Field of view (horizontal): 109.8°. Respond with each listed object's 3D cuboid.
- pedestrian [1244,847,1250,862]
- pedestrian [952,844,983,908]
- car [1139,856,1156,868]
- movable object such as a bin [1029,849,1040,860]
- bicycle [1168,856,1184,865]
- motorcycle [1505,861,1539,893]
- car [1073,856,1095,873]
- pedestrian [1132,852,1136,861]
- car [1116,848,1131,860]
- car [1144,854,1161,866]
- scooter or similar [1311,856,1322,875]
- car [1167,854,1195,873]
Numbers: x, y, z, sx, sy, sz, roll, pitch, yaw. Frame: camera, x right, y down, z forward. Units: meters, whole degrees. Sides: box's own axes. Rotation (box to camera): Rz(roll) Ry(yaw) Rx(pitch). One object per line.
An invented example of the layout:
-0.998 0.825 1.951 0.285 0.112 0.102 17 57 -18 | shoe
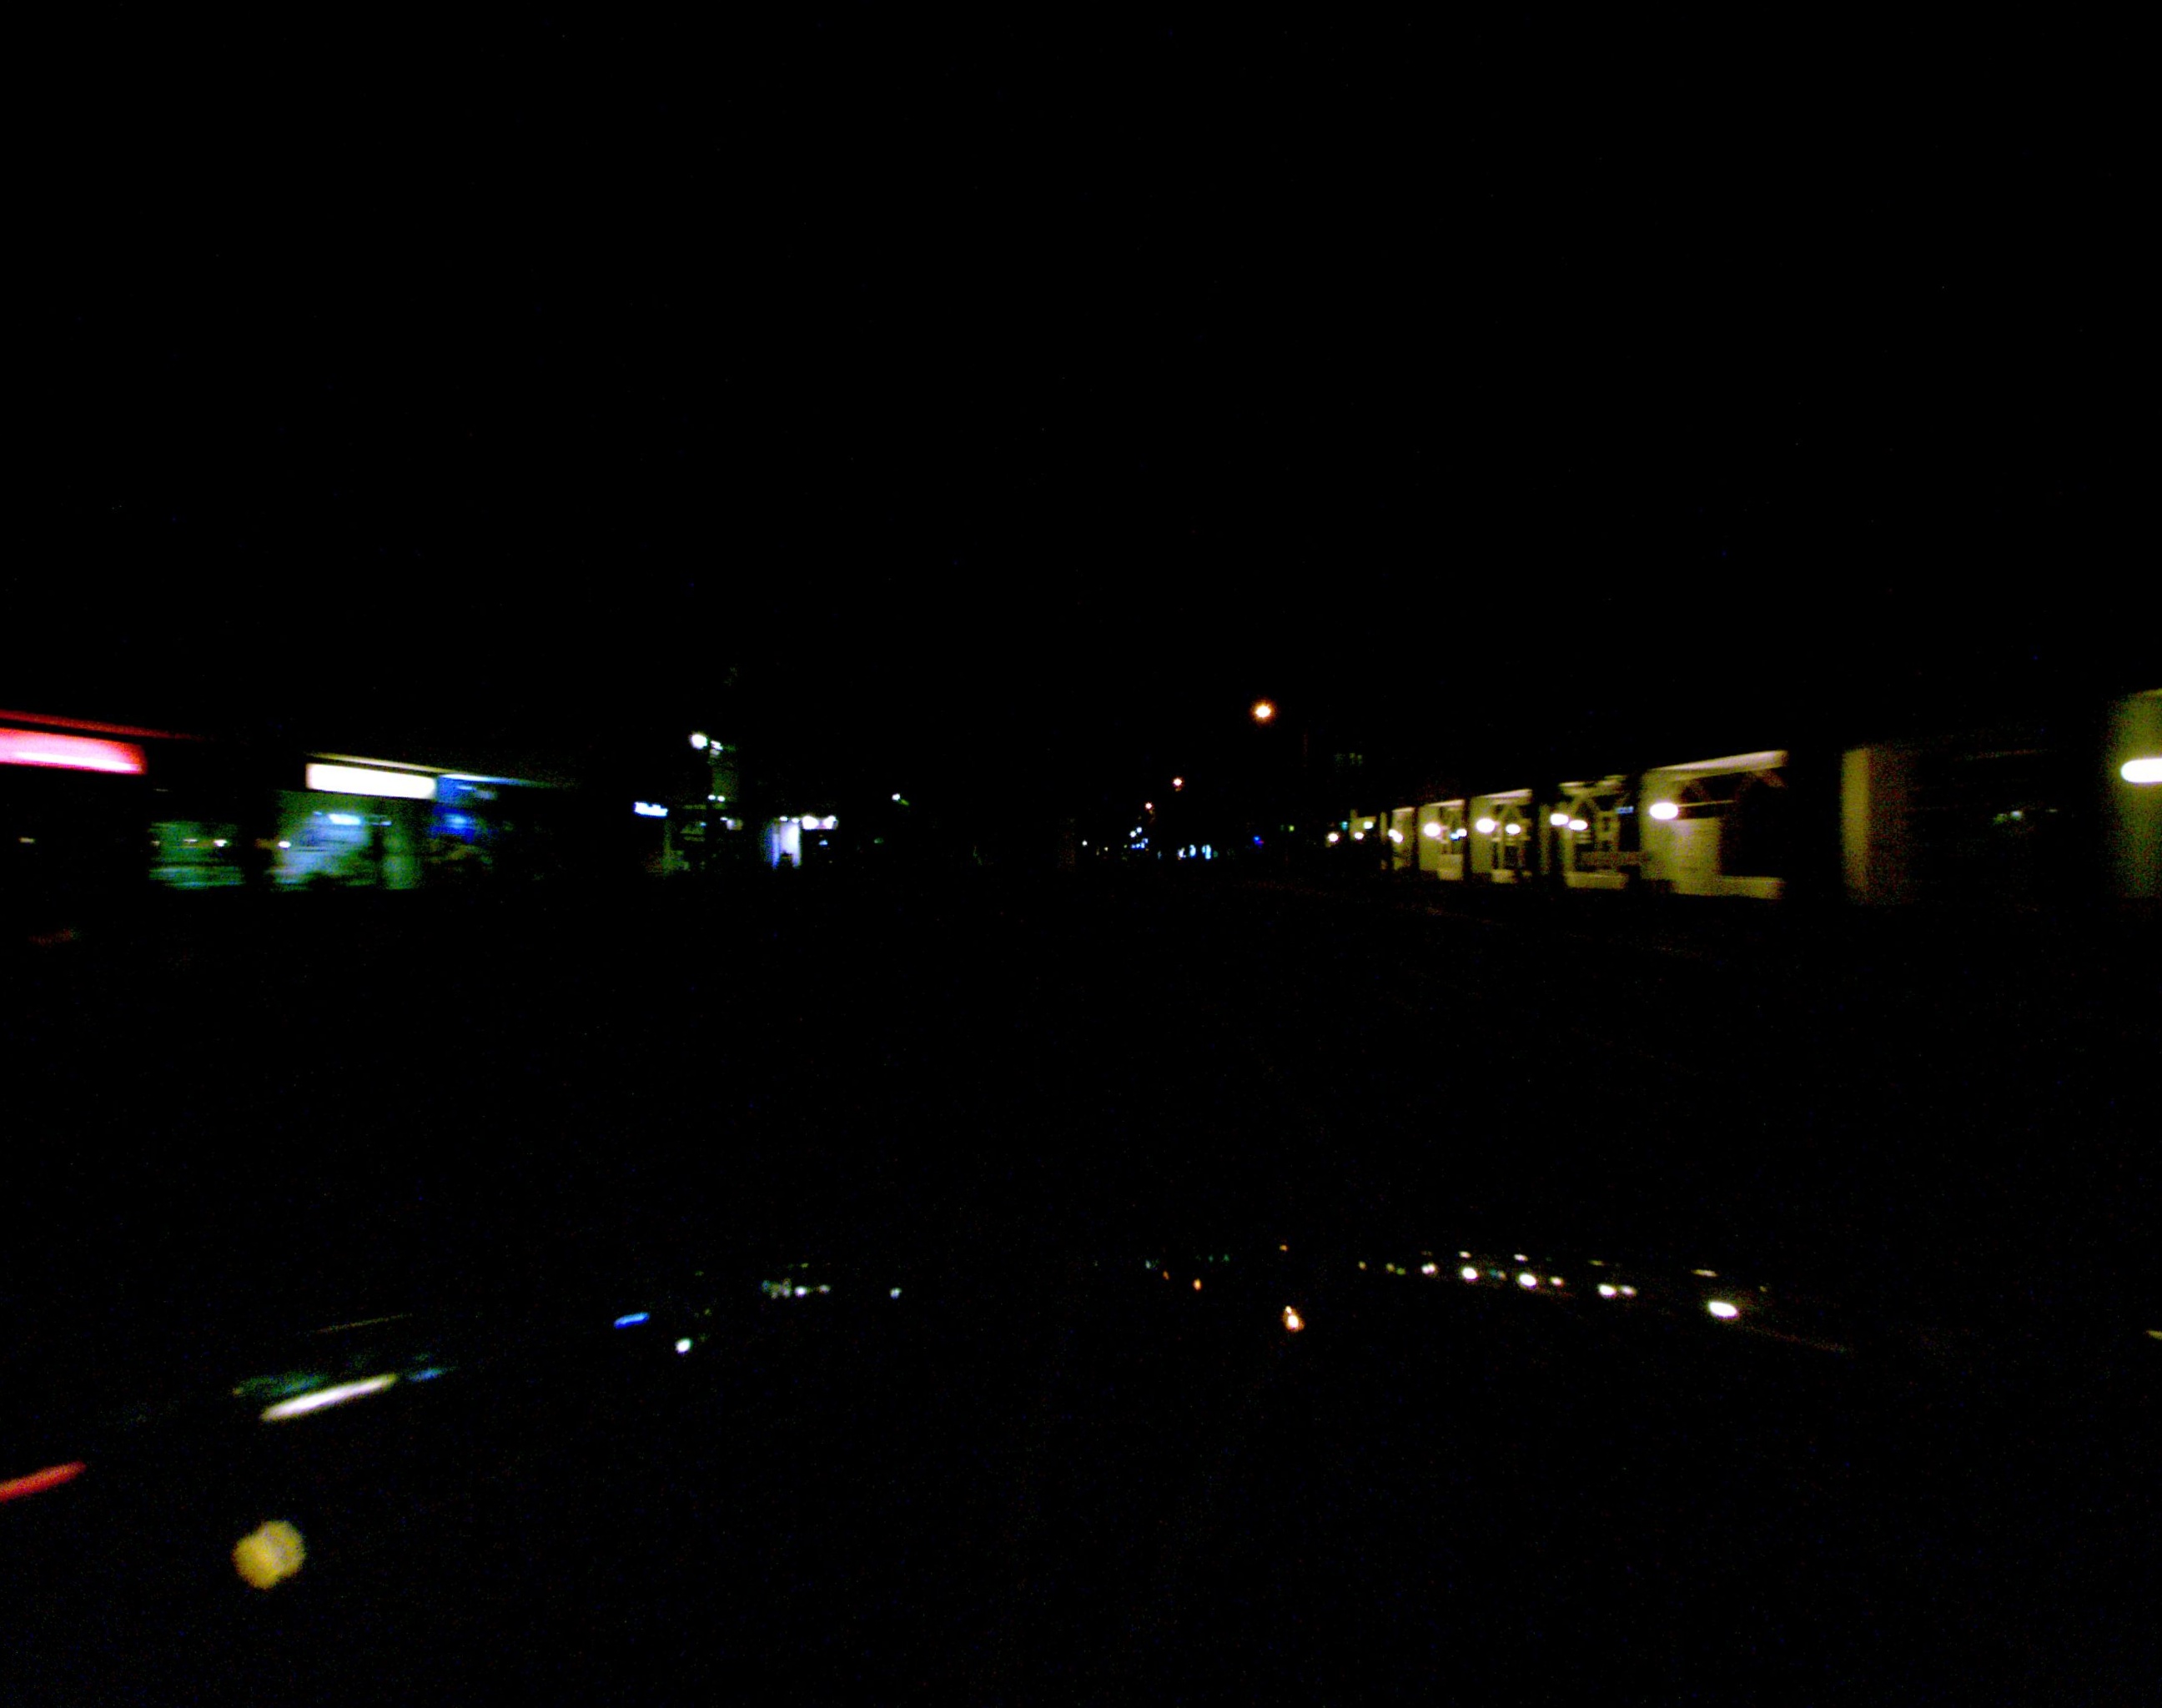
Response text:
18.515 0.039 84.645 0.479 1.627 0.632 0 1 2 | pedestrian
-3.330 0.630 22.282 0.704 1.808 1.082 1 1 1 | pedestrian
8.588 1.004 99.004 1.811 1.416 4.921 -2 0 1 | car
-5.665 0.071 92.538 1.163 1.363 0.993 -1 1 -1 | movable object such as a bin
11.267 0.789 90.133 1.855 1.029 0.532 -2 1 1 | bicycle
14.706 0.745 25.362 0.479 1.014 1.677 0 0 11 | motorcycle
0.327 0.899 66.171 1.768 1.406 4.808 1 0 2 | car
10.657 0.582 152.610 0.719 1.795 0.716 0 1 1 | pedestrian
7.184 -0.004 130.004 1.858 2.075 5.088 -1 0 -4 | car
8.756 0.724 93.701 1.726 1.420 3.976 -2 0 1 | car
15.510 0.757 50.131 0.388 1.214 1.344 0 0 4 | scooter or similar
7.955 0.735 60.641 1.745 1.405 4.496 -1 0 2 | car
